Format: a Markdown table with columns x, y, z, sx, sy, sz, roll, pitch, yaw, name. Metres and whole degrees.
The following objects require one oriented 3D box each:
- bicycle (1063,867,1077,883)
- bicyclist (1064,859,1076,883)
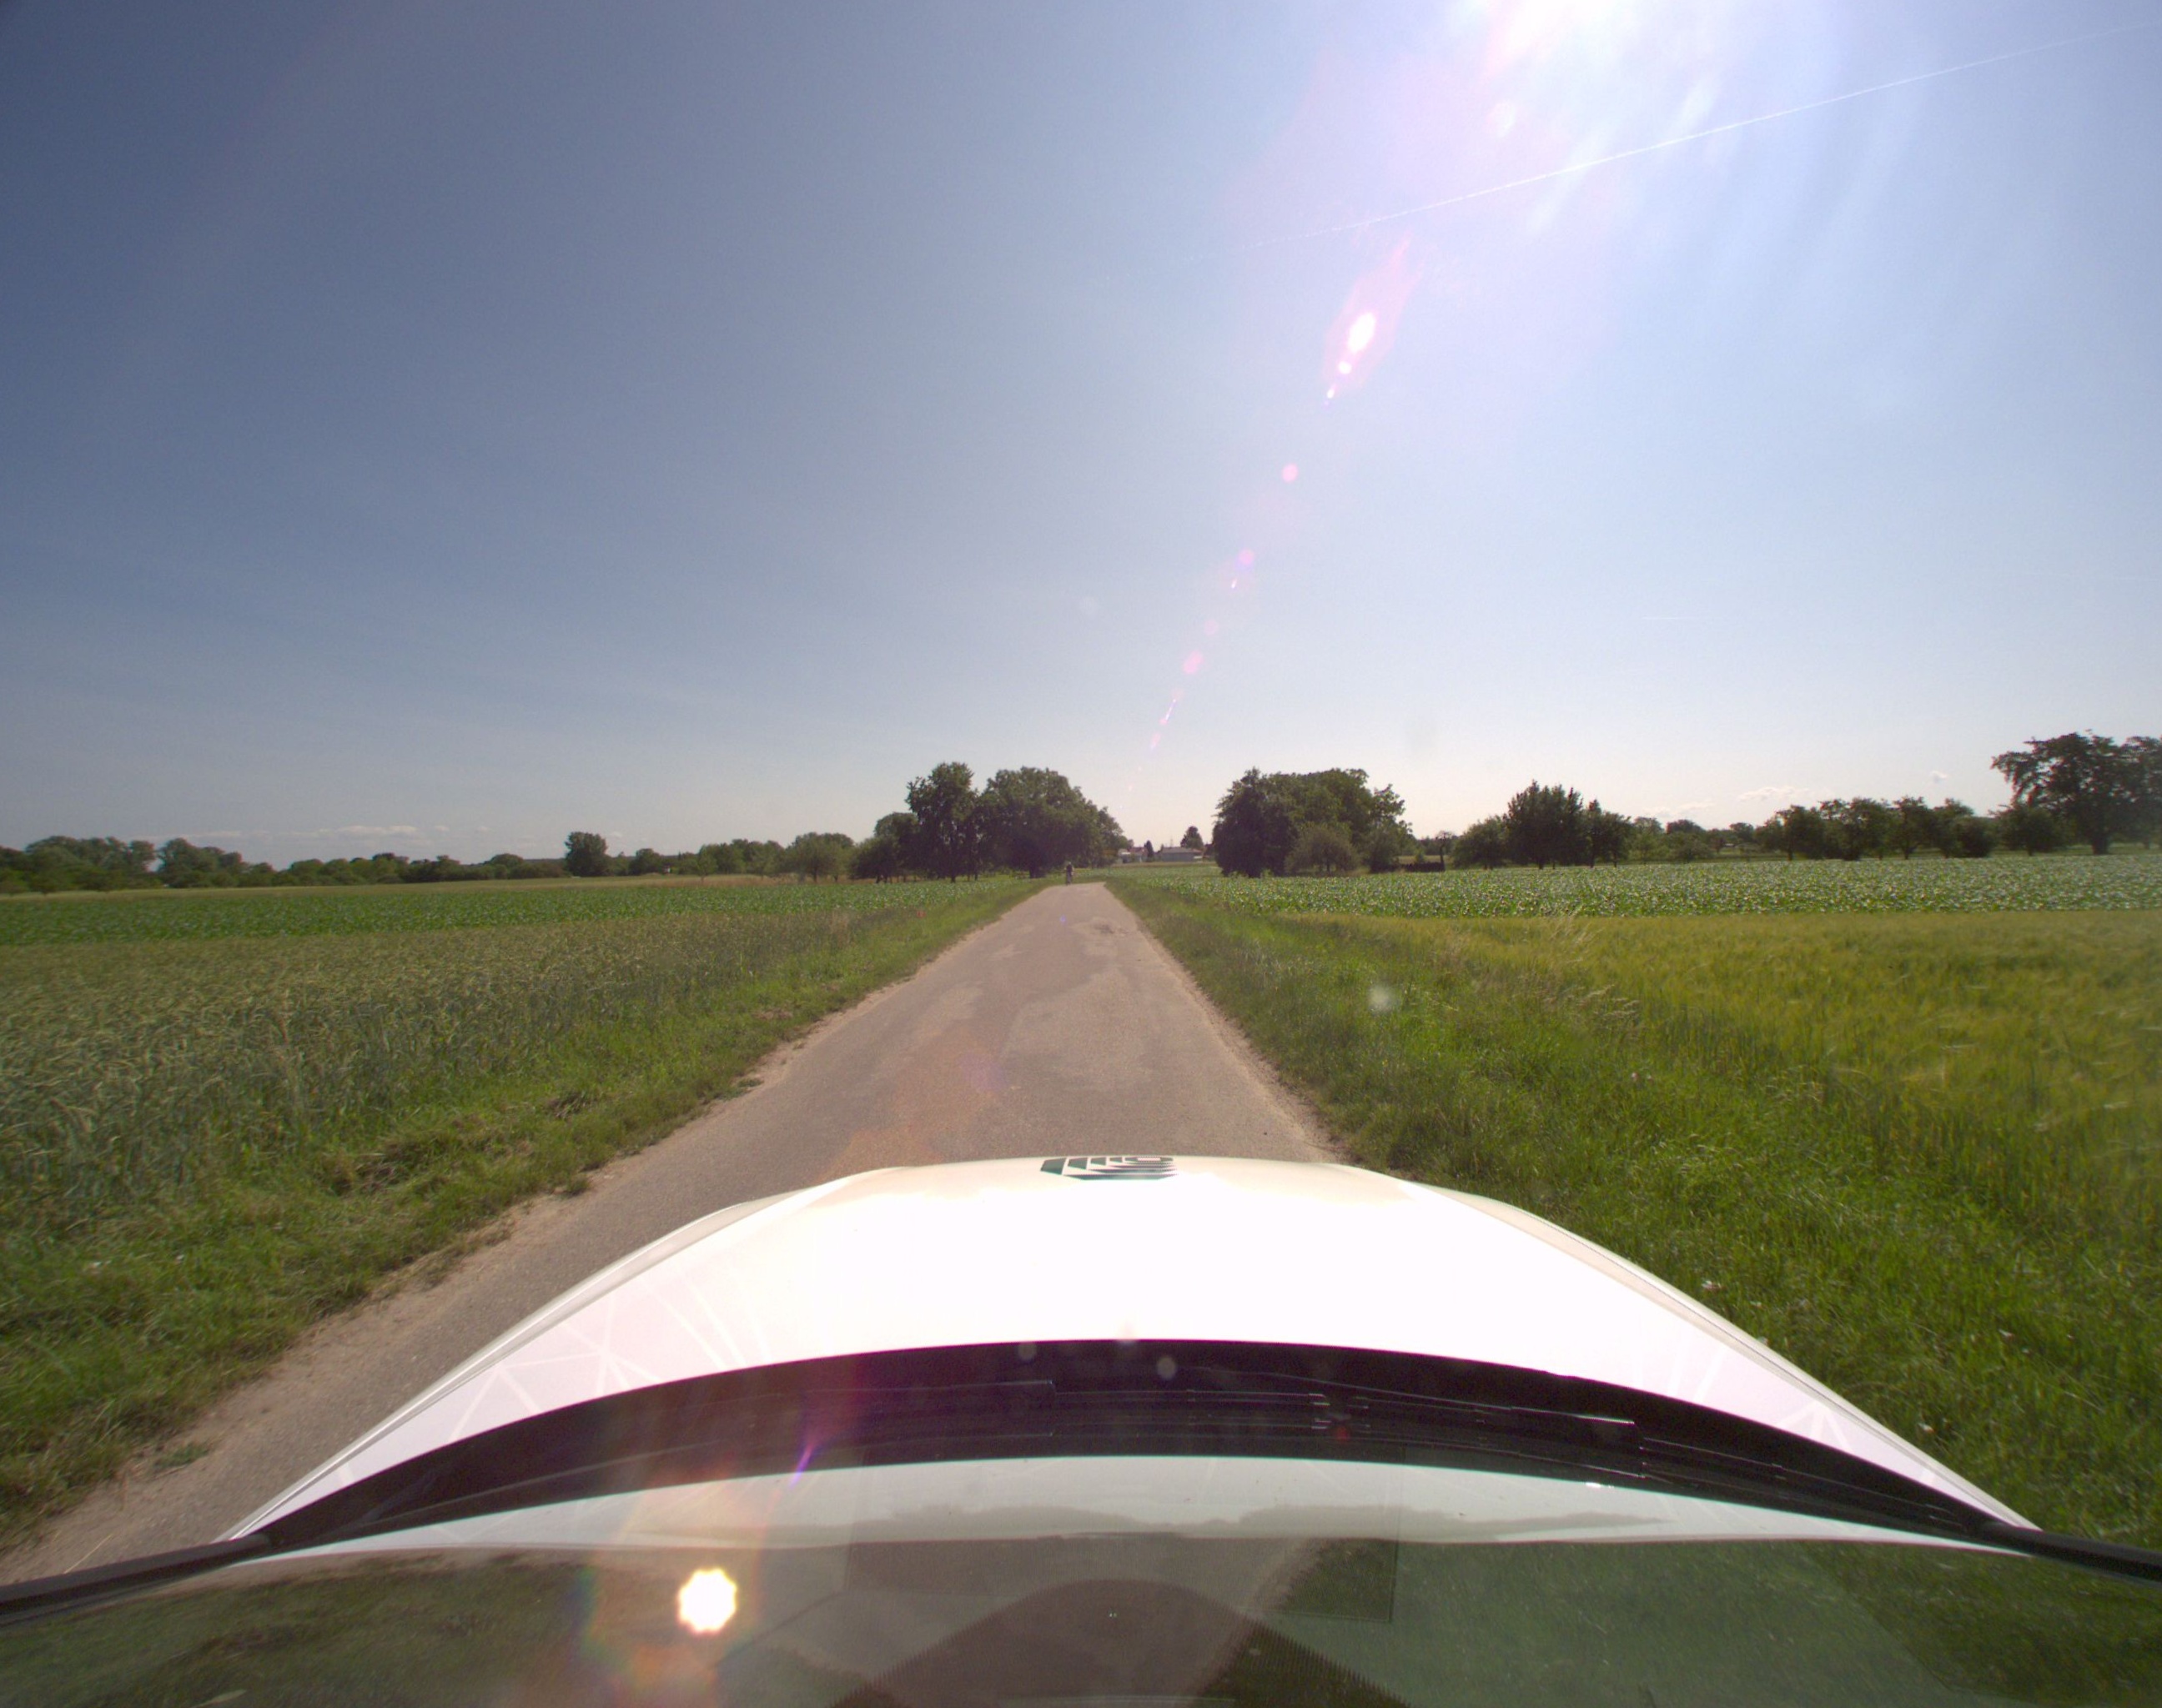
| x | y | z | sx | sy | sz | roll | pitch | yaw | name |
| --- | --- | --- | --- | --- | --- | --- | --- | --- | --- |
| -0.839 | 1.618 | 62.054 | 0.746 | 1.127 | 1.912 | -3 | -1 | 7 | bicycle |
| -0.851 | 1.295 | 62.064 | 0.746 | 1.791 | 0.718 | -3 | -1 | 7 | bicyclist |
